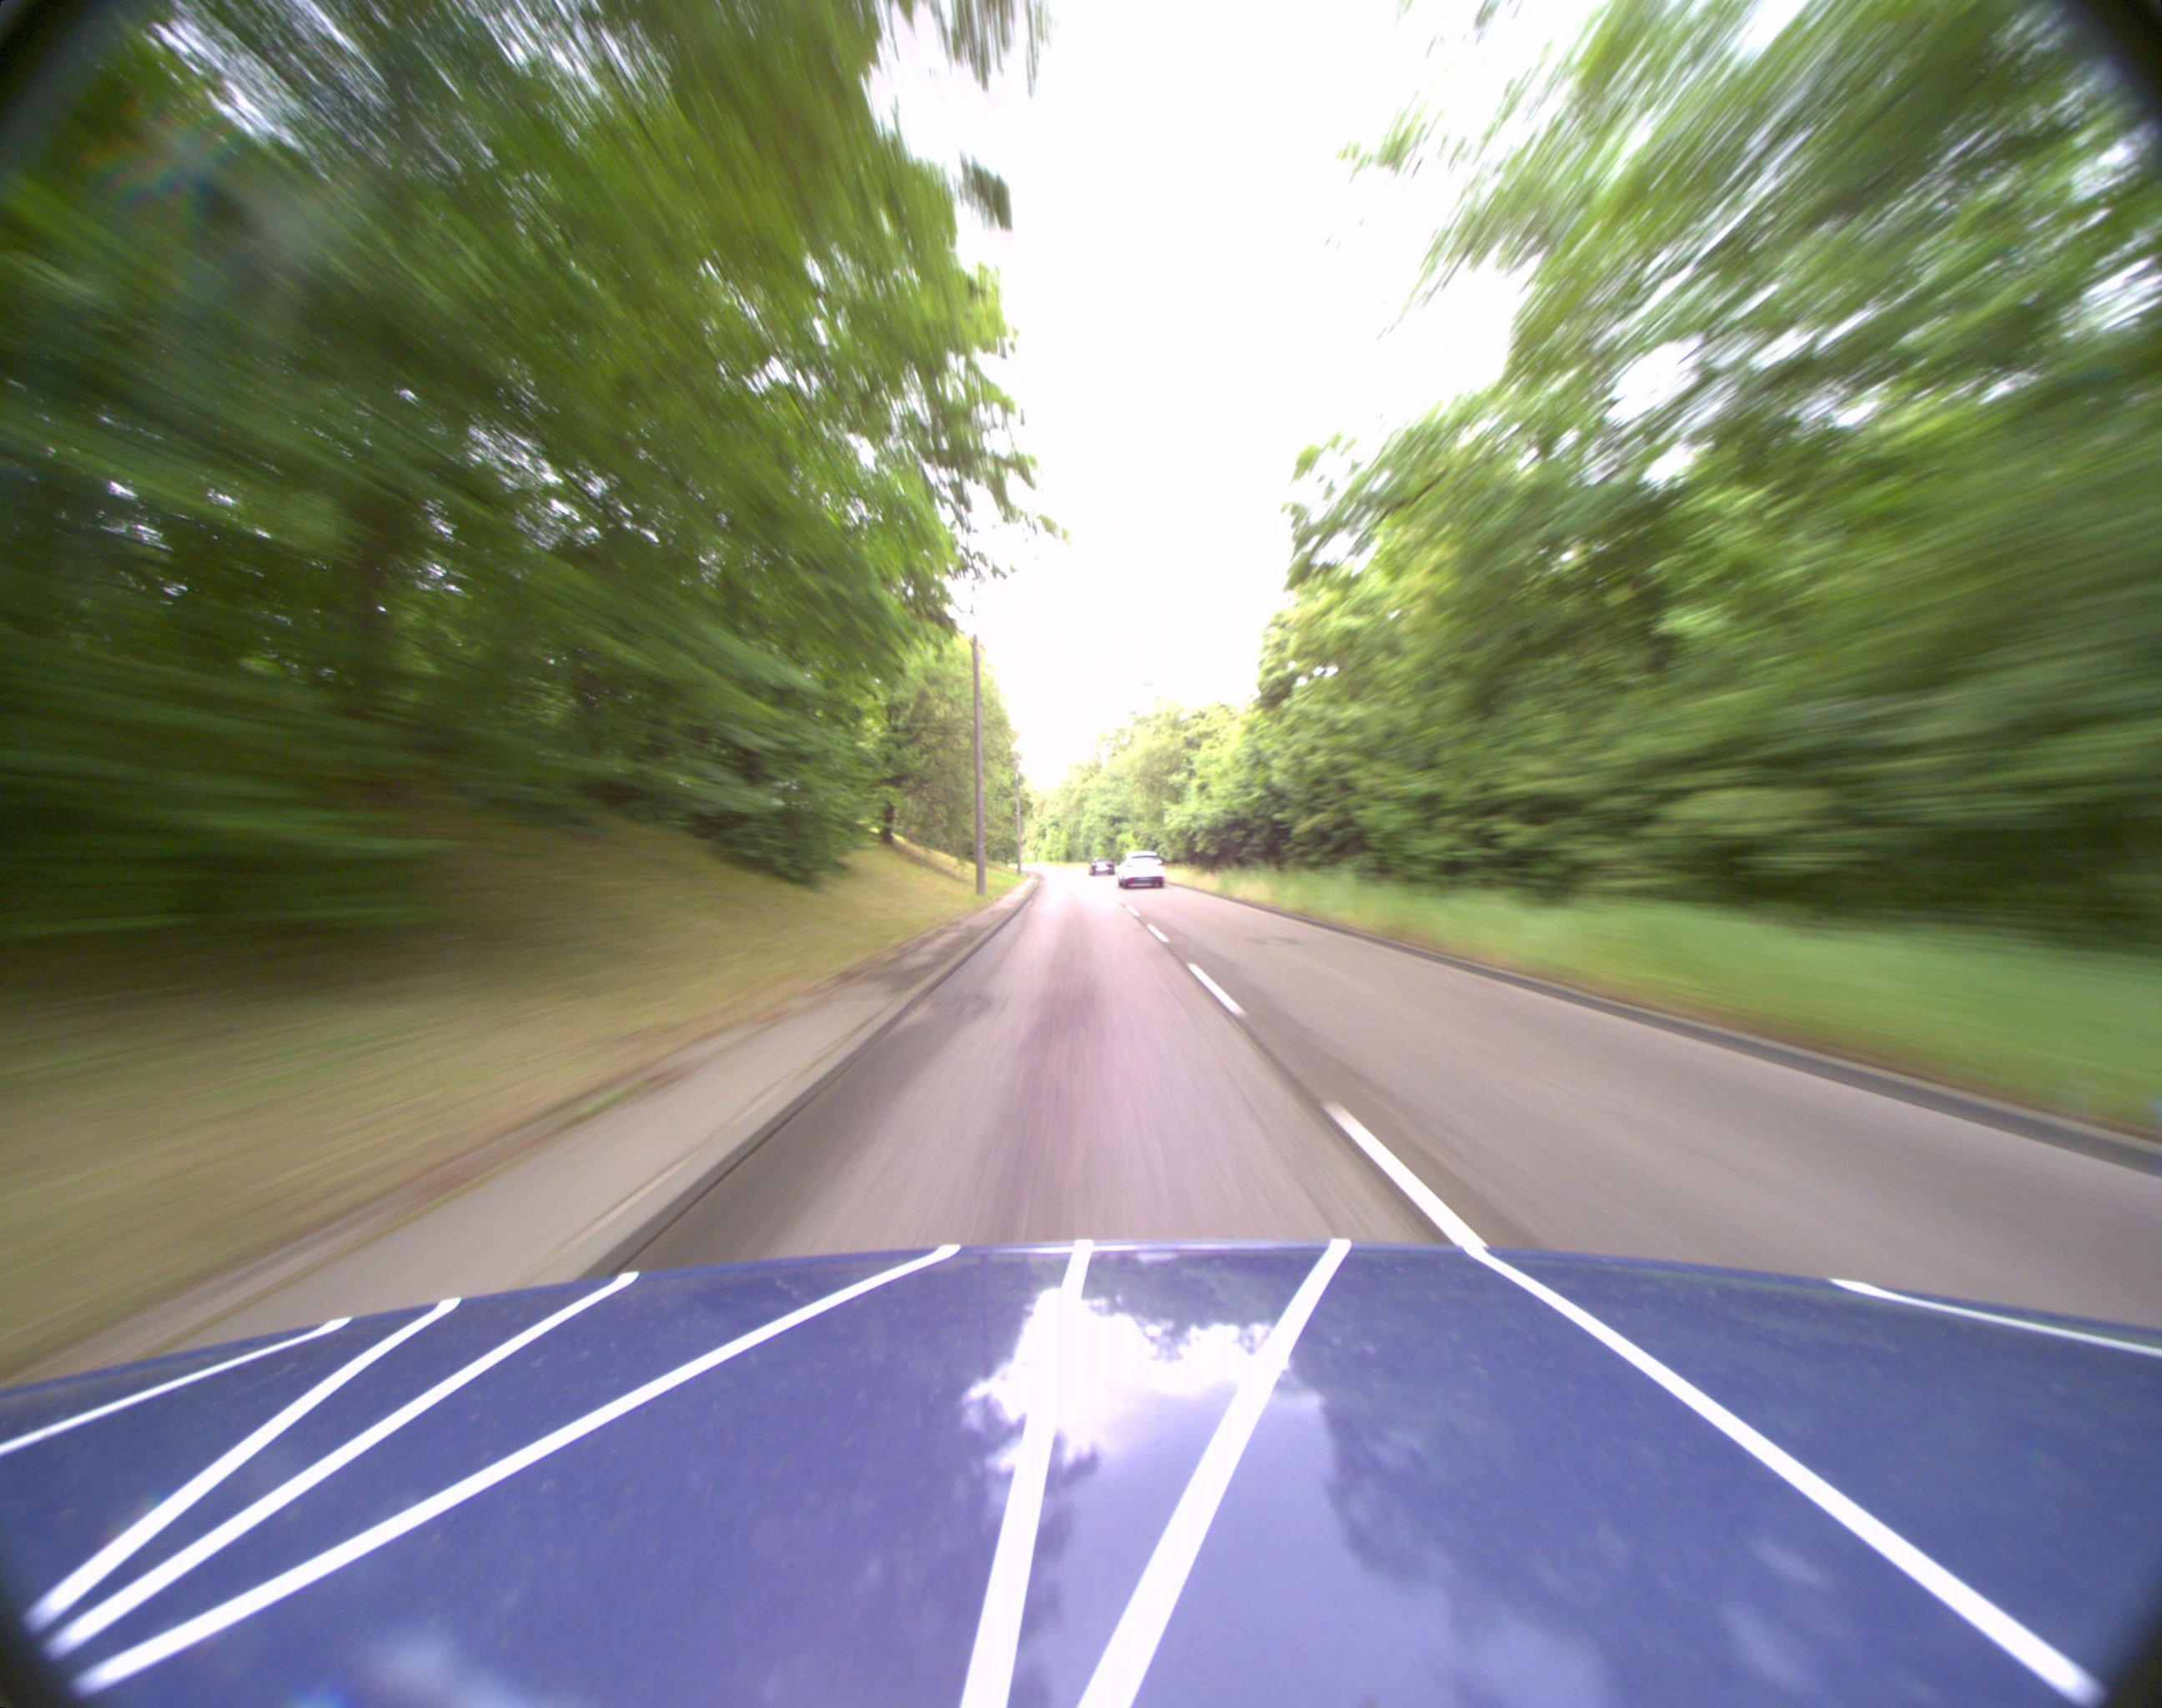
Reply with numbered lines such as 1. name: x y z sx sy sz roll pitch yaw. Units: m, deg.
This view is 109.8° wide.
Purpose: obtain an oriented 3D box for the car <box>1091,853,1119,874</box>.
1. car: 1.923 0.750 62.406 2.035 1.499 4.594 -3 1 -1

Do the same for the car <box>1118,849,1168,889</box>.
1. car: 2.850 0.650 35.797 1.824 1.685 4.286 -3 1 -1
